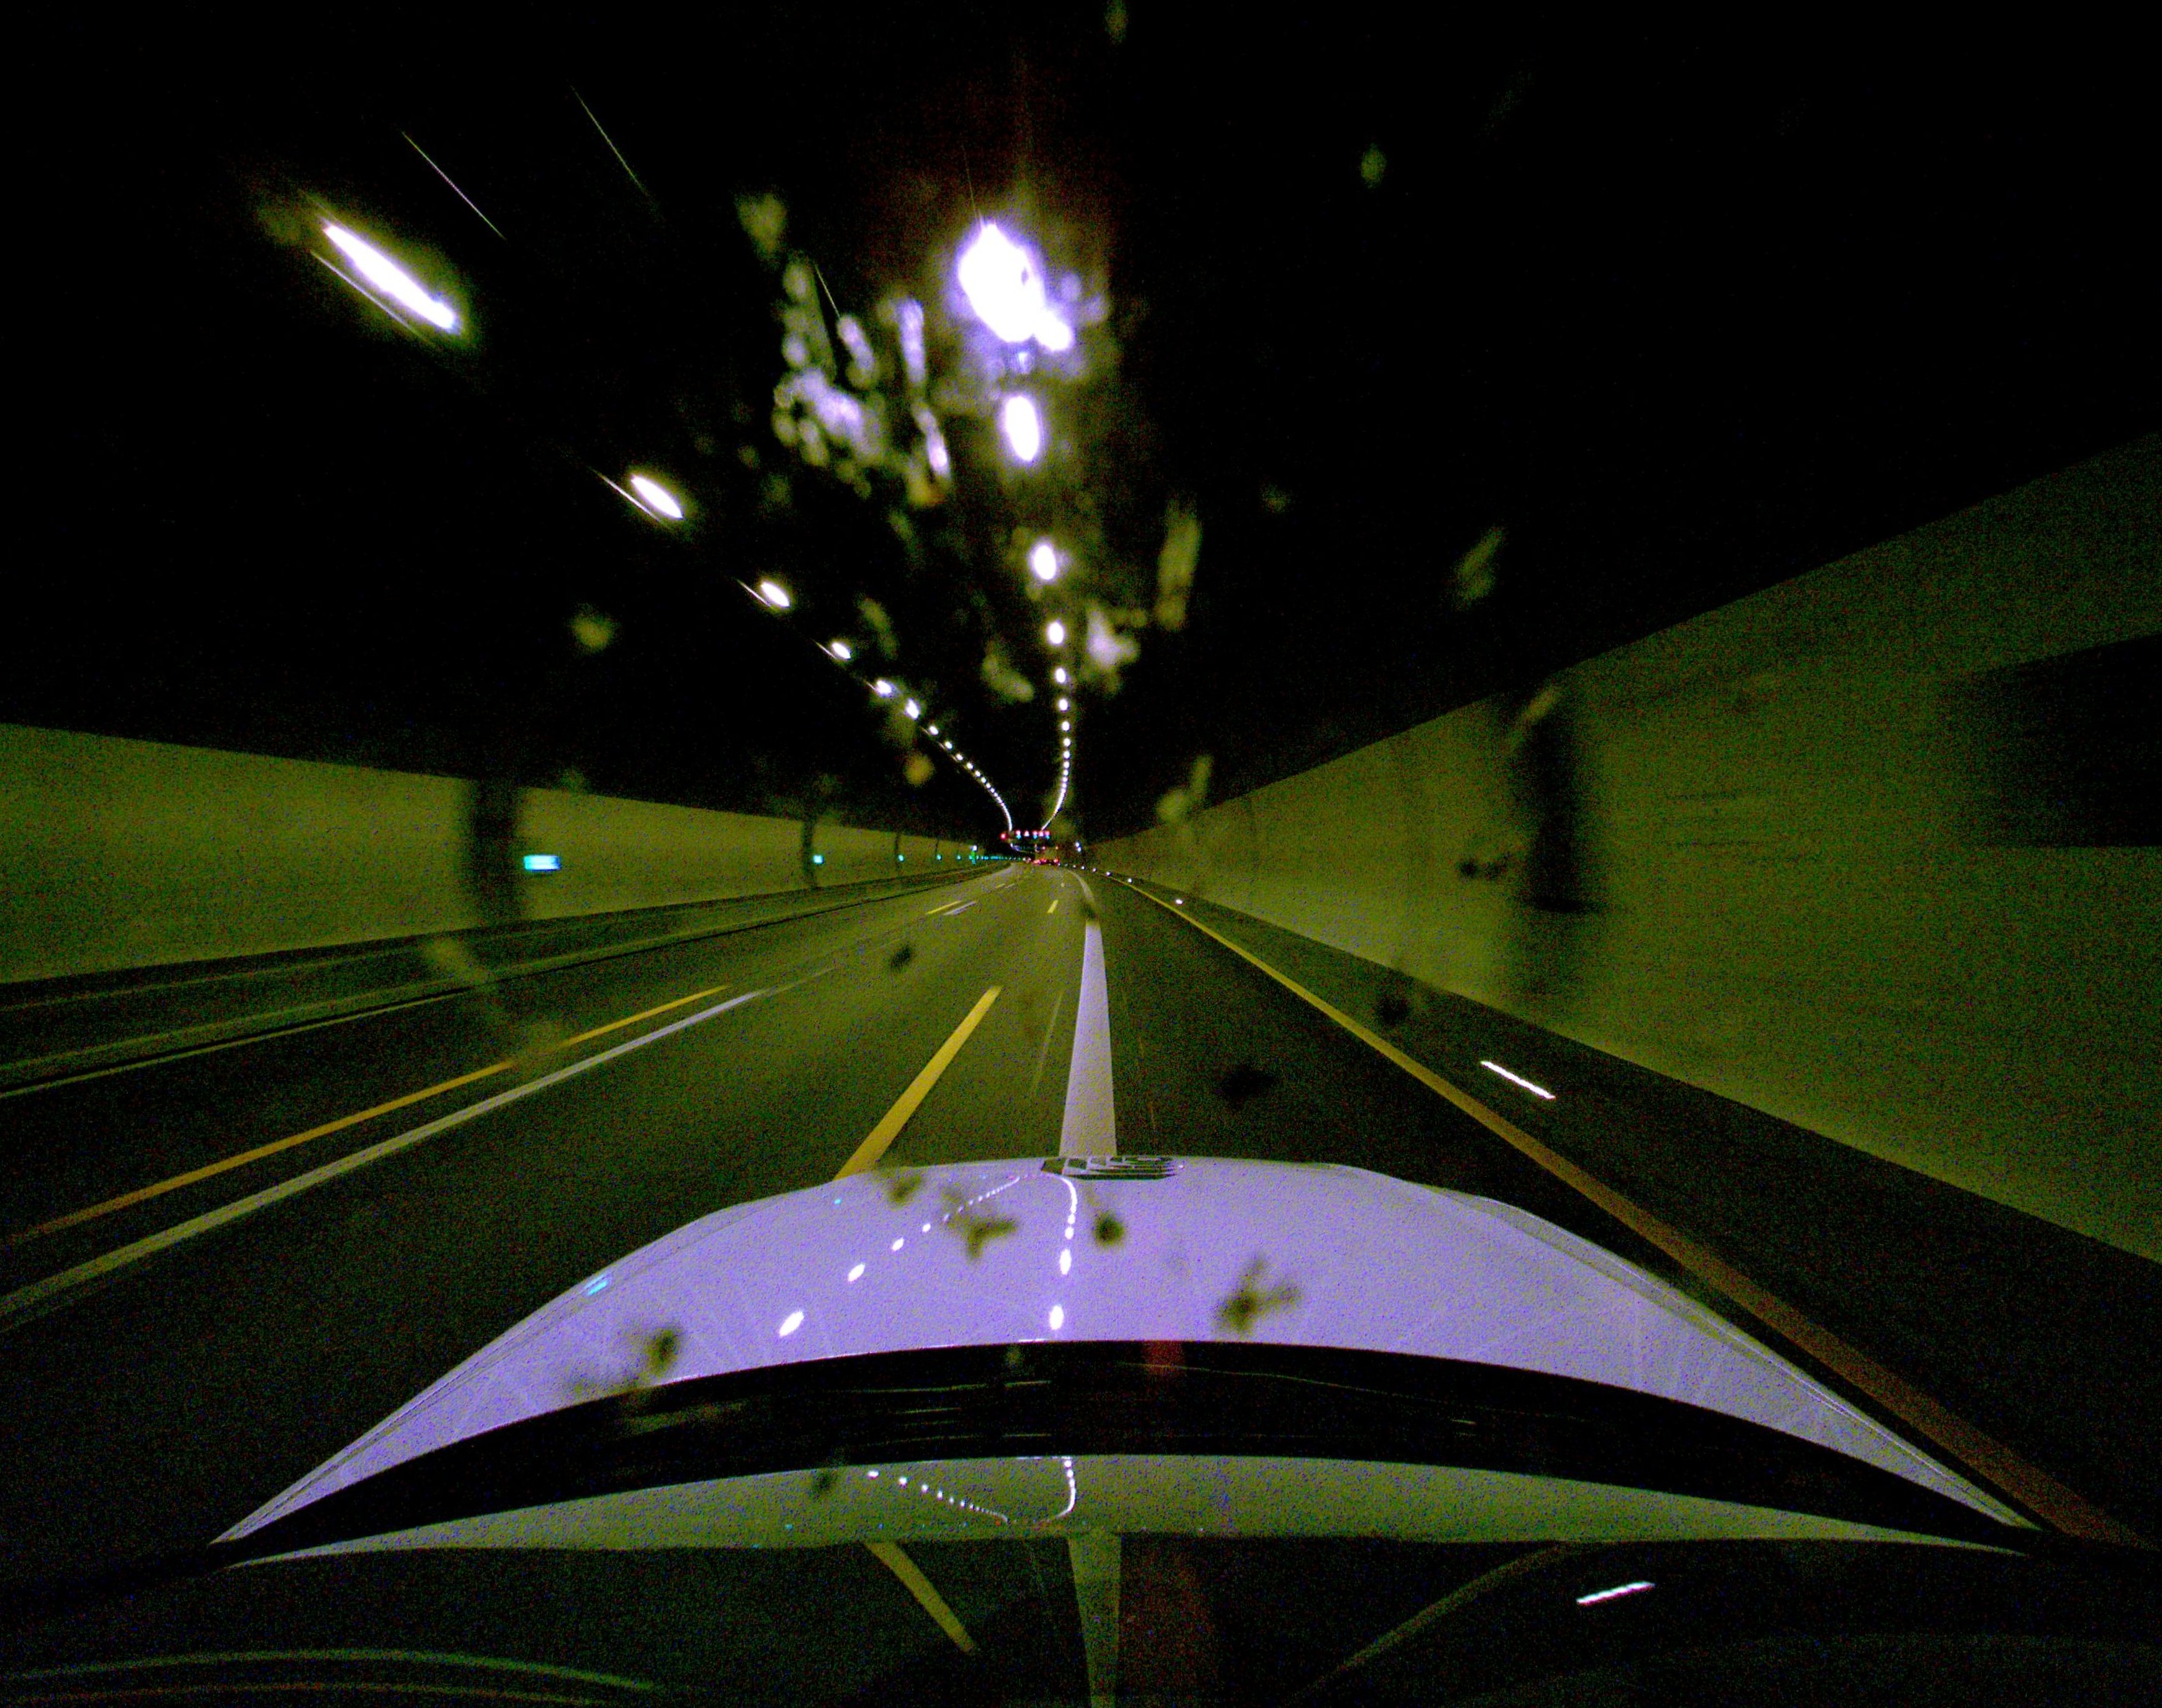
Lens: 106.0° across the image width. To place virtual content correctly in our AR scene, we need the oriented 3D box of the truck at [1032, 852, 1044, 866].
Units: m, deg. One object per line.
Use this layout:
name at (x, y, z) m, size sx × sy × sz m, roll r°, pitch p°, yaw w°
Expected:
truck at (-13.706, 1.549, 258.442) m, size 3.468 × 4.316 × 10.933 m, roll 0°, pitch 0°, yaw -5°

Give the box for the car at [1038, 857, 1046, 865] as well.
car at (-10.514, 1.837, 219.154) m, size 1.989 × 2.013 × 3.995 m, roll 0°, pitch 0°, yaw -3°

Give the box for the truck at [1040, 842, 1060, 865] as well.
truck at (-6.119, -0.079, 160.130) m, size 3.468 × 4.316 × 10.933 m, roll 1°, pitch 0°, yaw -5°

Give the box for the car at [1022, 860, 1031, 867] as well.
car at (-13.031, 2.201, 195.174) m, size 1.991 × 1.582 × 3.992 m, roll 1°, pitch 0°, yaw -6°
